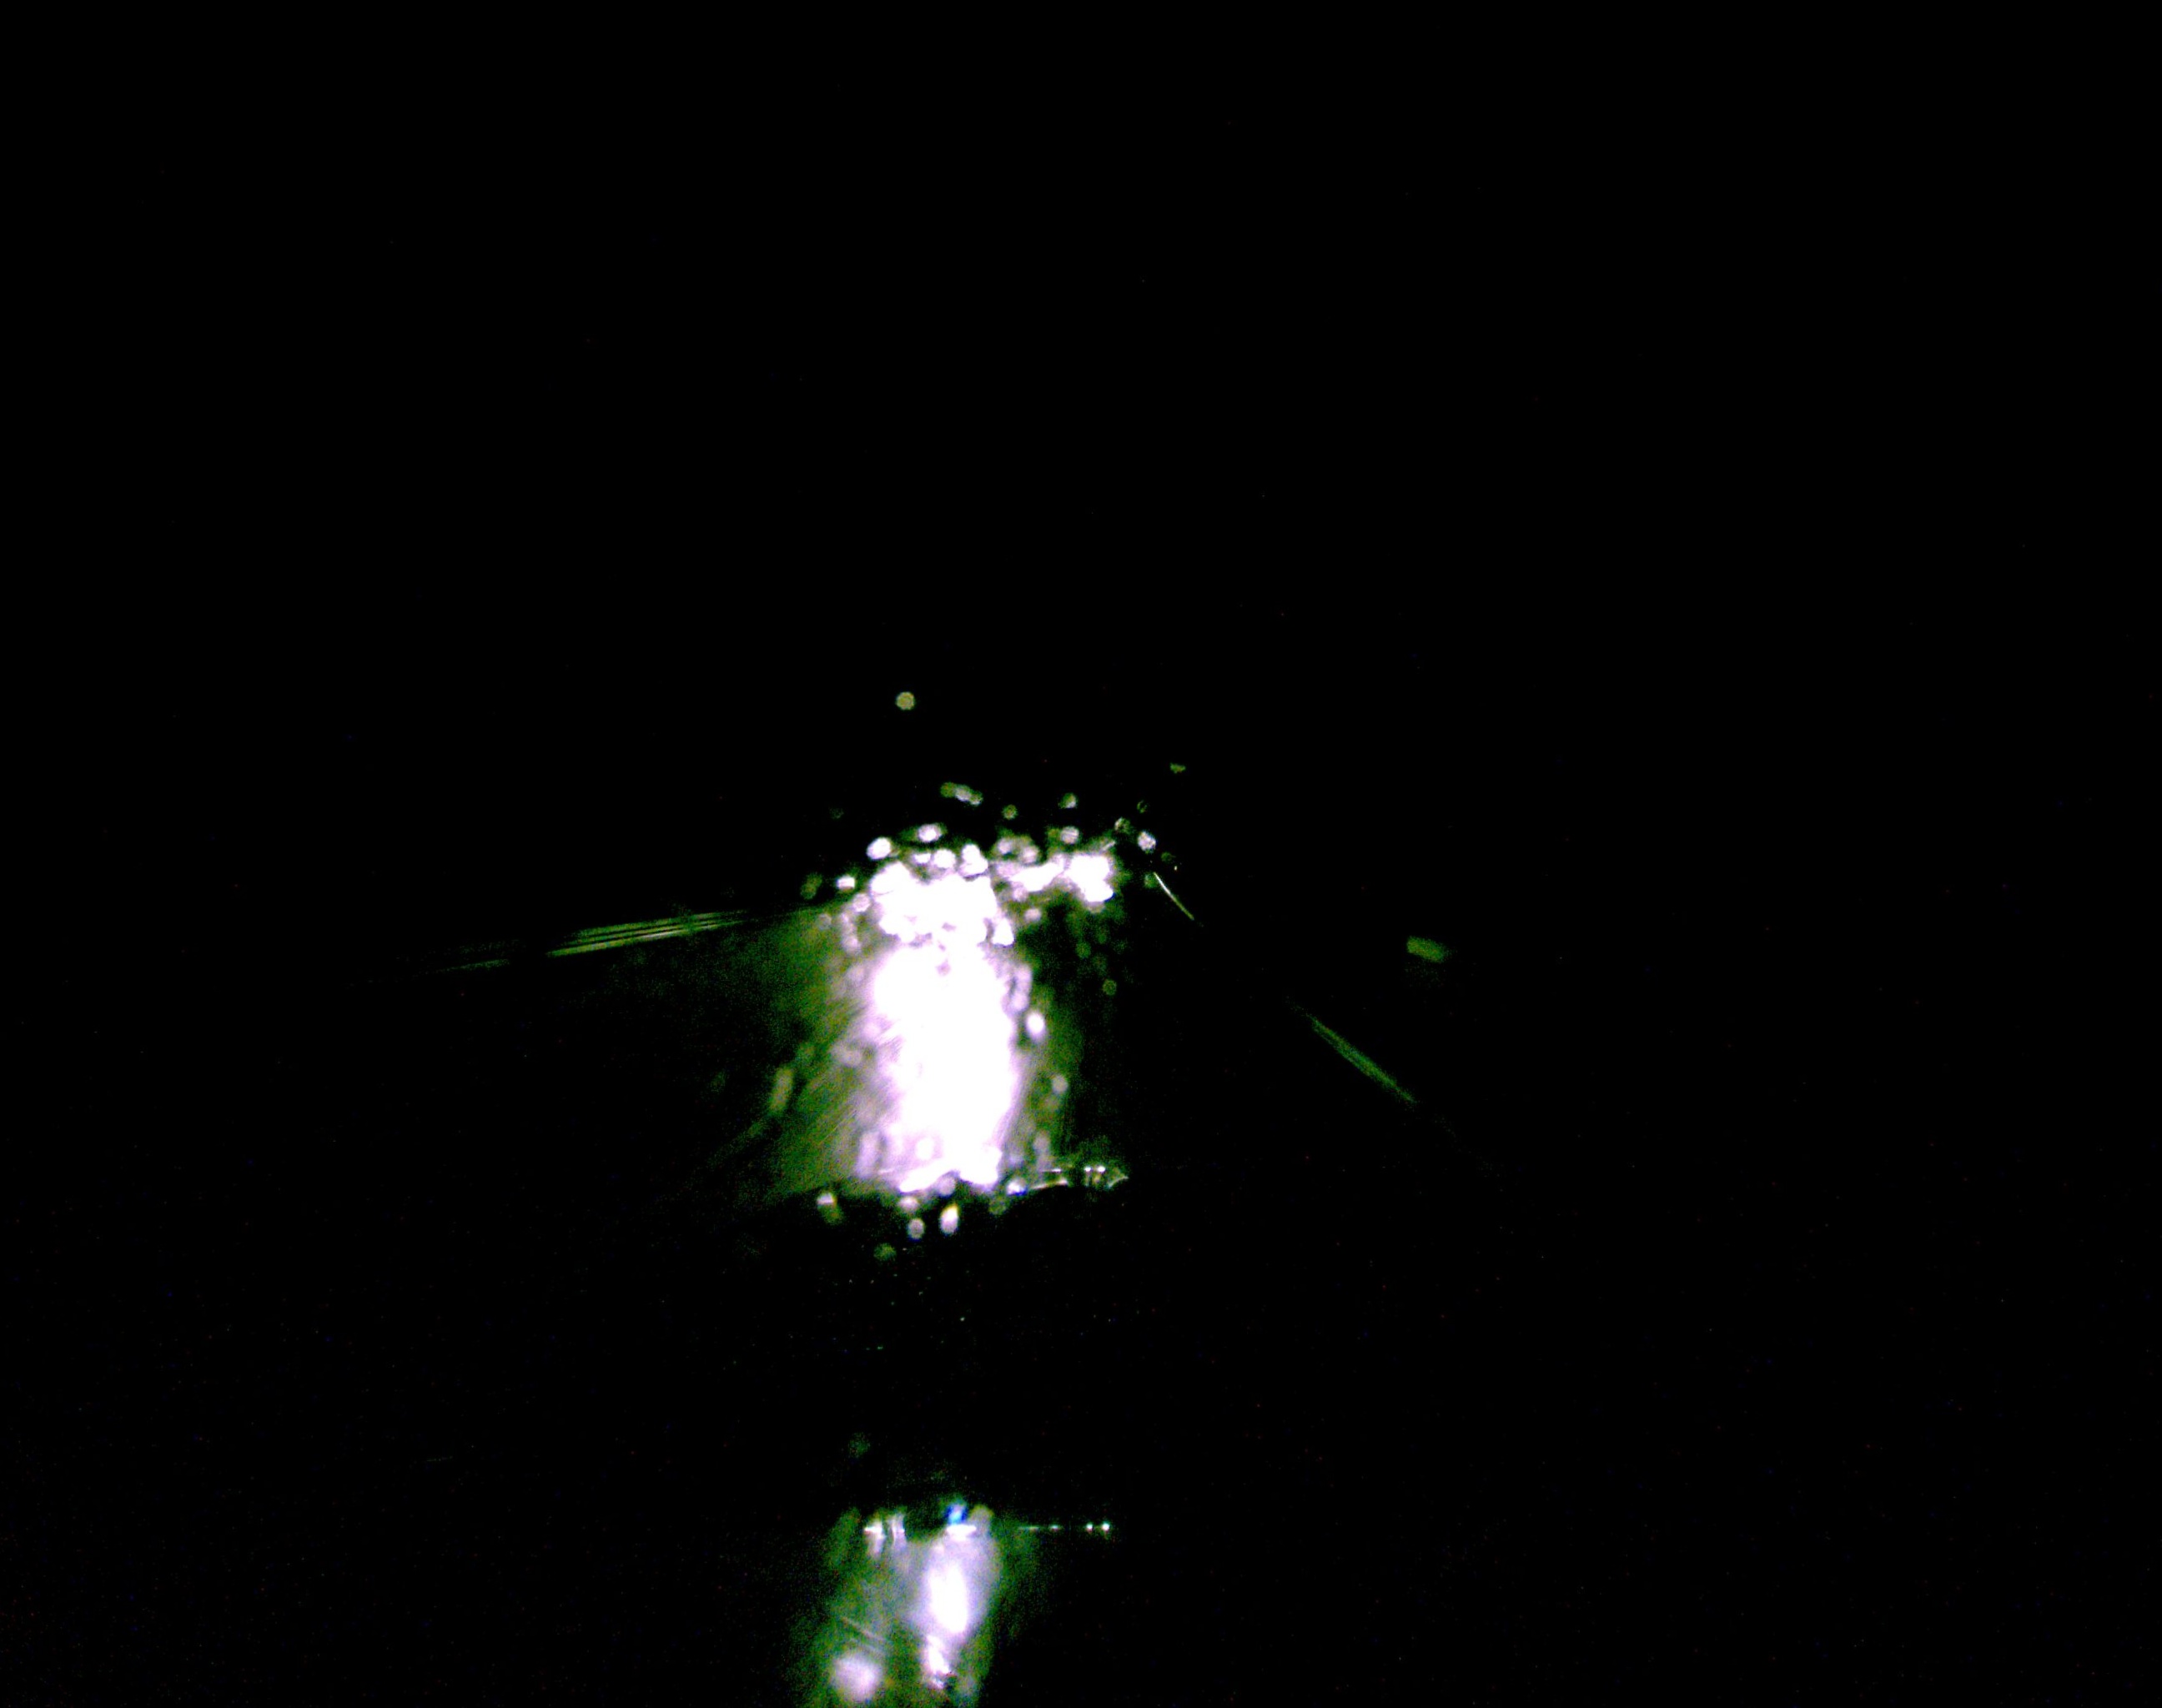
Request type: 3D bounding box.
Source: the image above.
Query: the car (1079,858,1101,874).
[{"bbox_3d":[0.912,1.147,79.192,1.909,1.464,4.264,0,0,4],"label":"car"}]

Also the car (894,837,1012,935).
[{"bbox_3d":[-2.749,0.657,18.398,1.847,1.940,4.002,-1,0,2],"label":"car"}]
